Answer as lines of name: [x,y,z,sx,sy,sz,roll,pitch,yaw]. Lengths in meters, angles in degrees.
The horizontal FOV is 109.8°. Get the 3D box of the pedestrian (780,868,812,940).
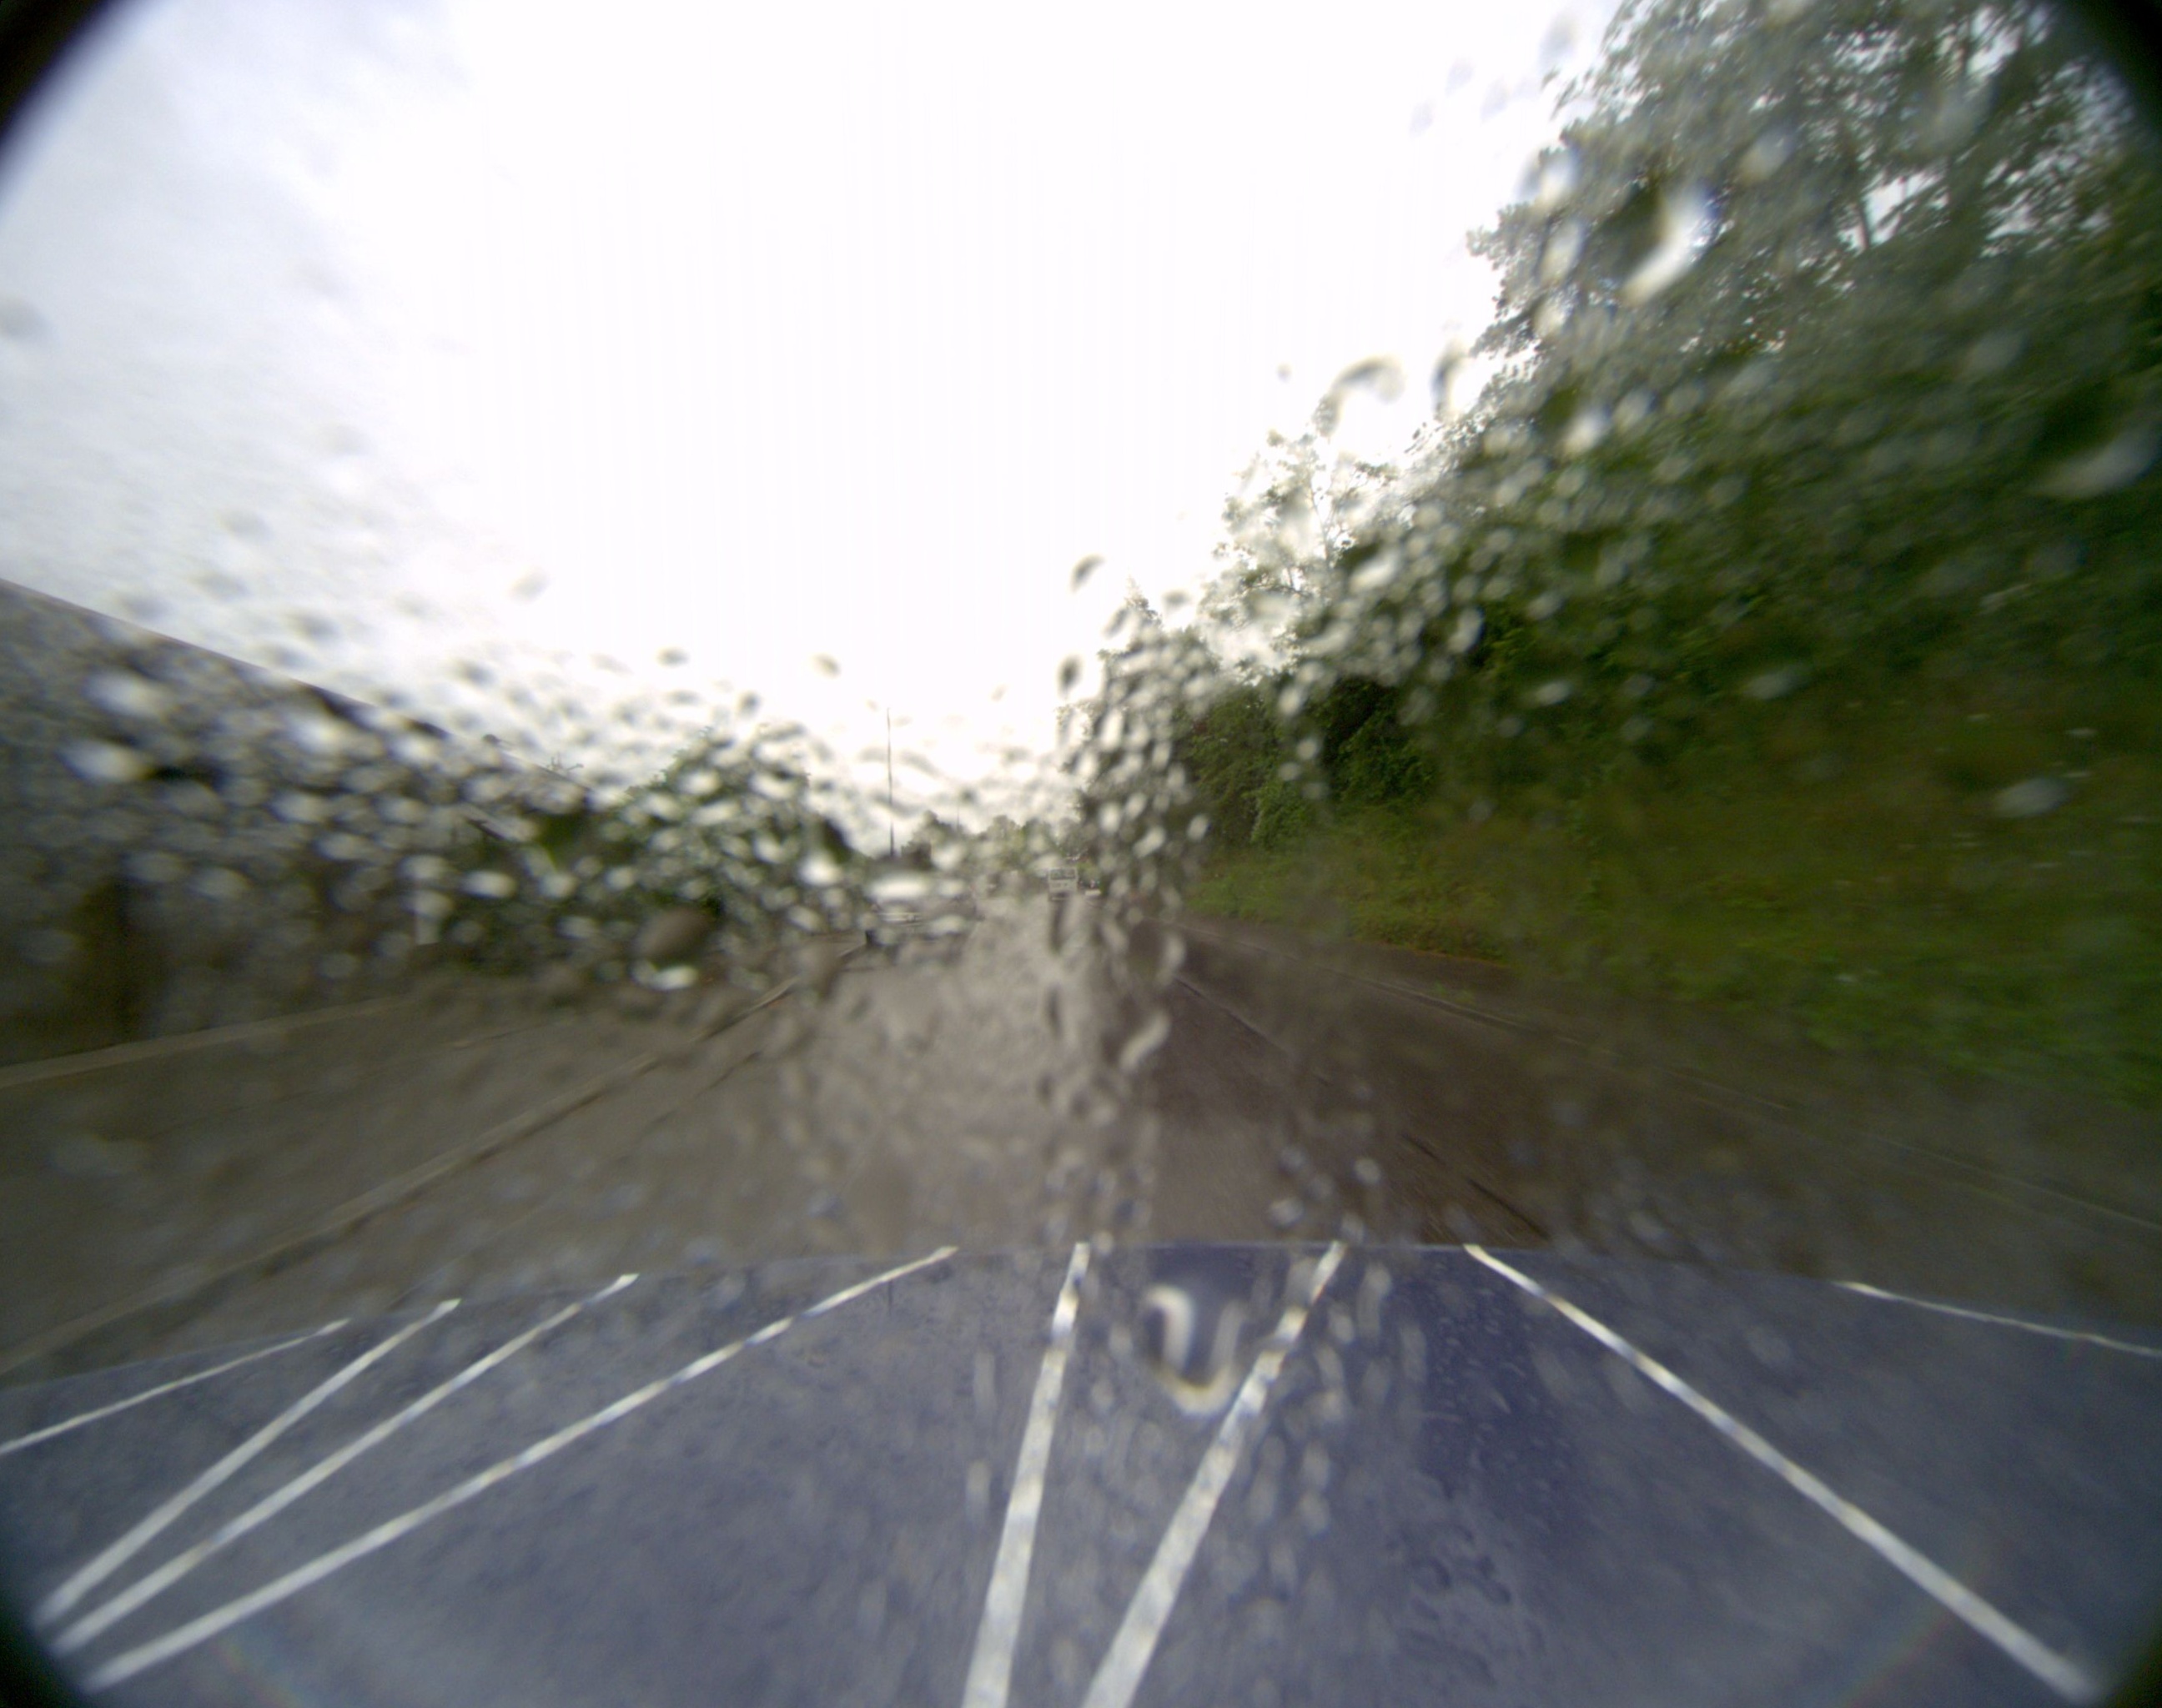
pedestrian: [-6.690,1.166,17.874,0.537,1.623,0.506,-3,-1,-7]

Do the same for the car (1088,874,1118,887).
car: [2.667,3.115,89.626,1.797,1.459,4.224,-3,-2,27]

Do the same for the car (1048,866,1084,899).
car: [-0.977,1.800,48.367,2.117,1.962,5.173,-2,-2,-2]

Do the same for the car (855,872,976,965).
car: [-3.267,1.219,15.838,1.881,1.582,4.478,-2,-2,-5]

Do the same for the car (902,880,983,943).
car: [-3.694,1.485,20.890,1.761,1.453,4.300,-3,-2,-5]
